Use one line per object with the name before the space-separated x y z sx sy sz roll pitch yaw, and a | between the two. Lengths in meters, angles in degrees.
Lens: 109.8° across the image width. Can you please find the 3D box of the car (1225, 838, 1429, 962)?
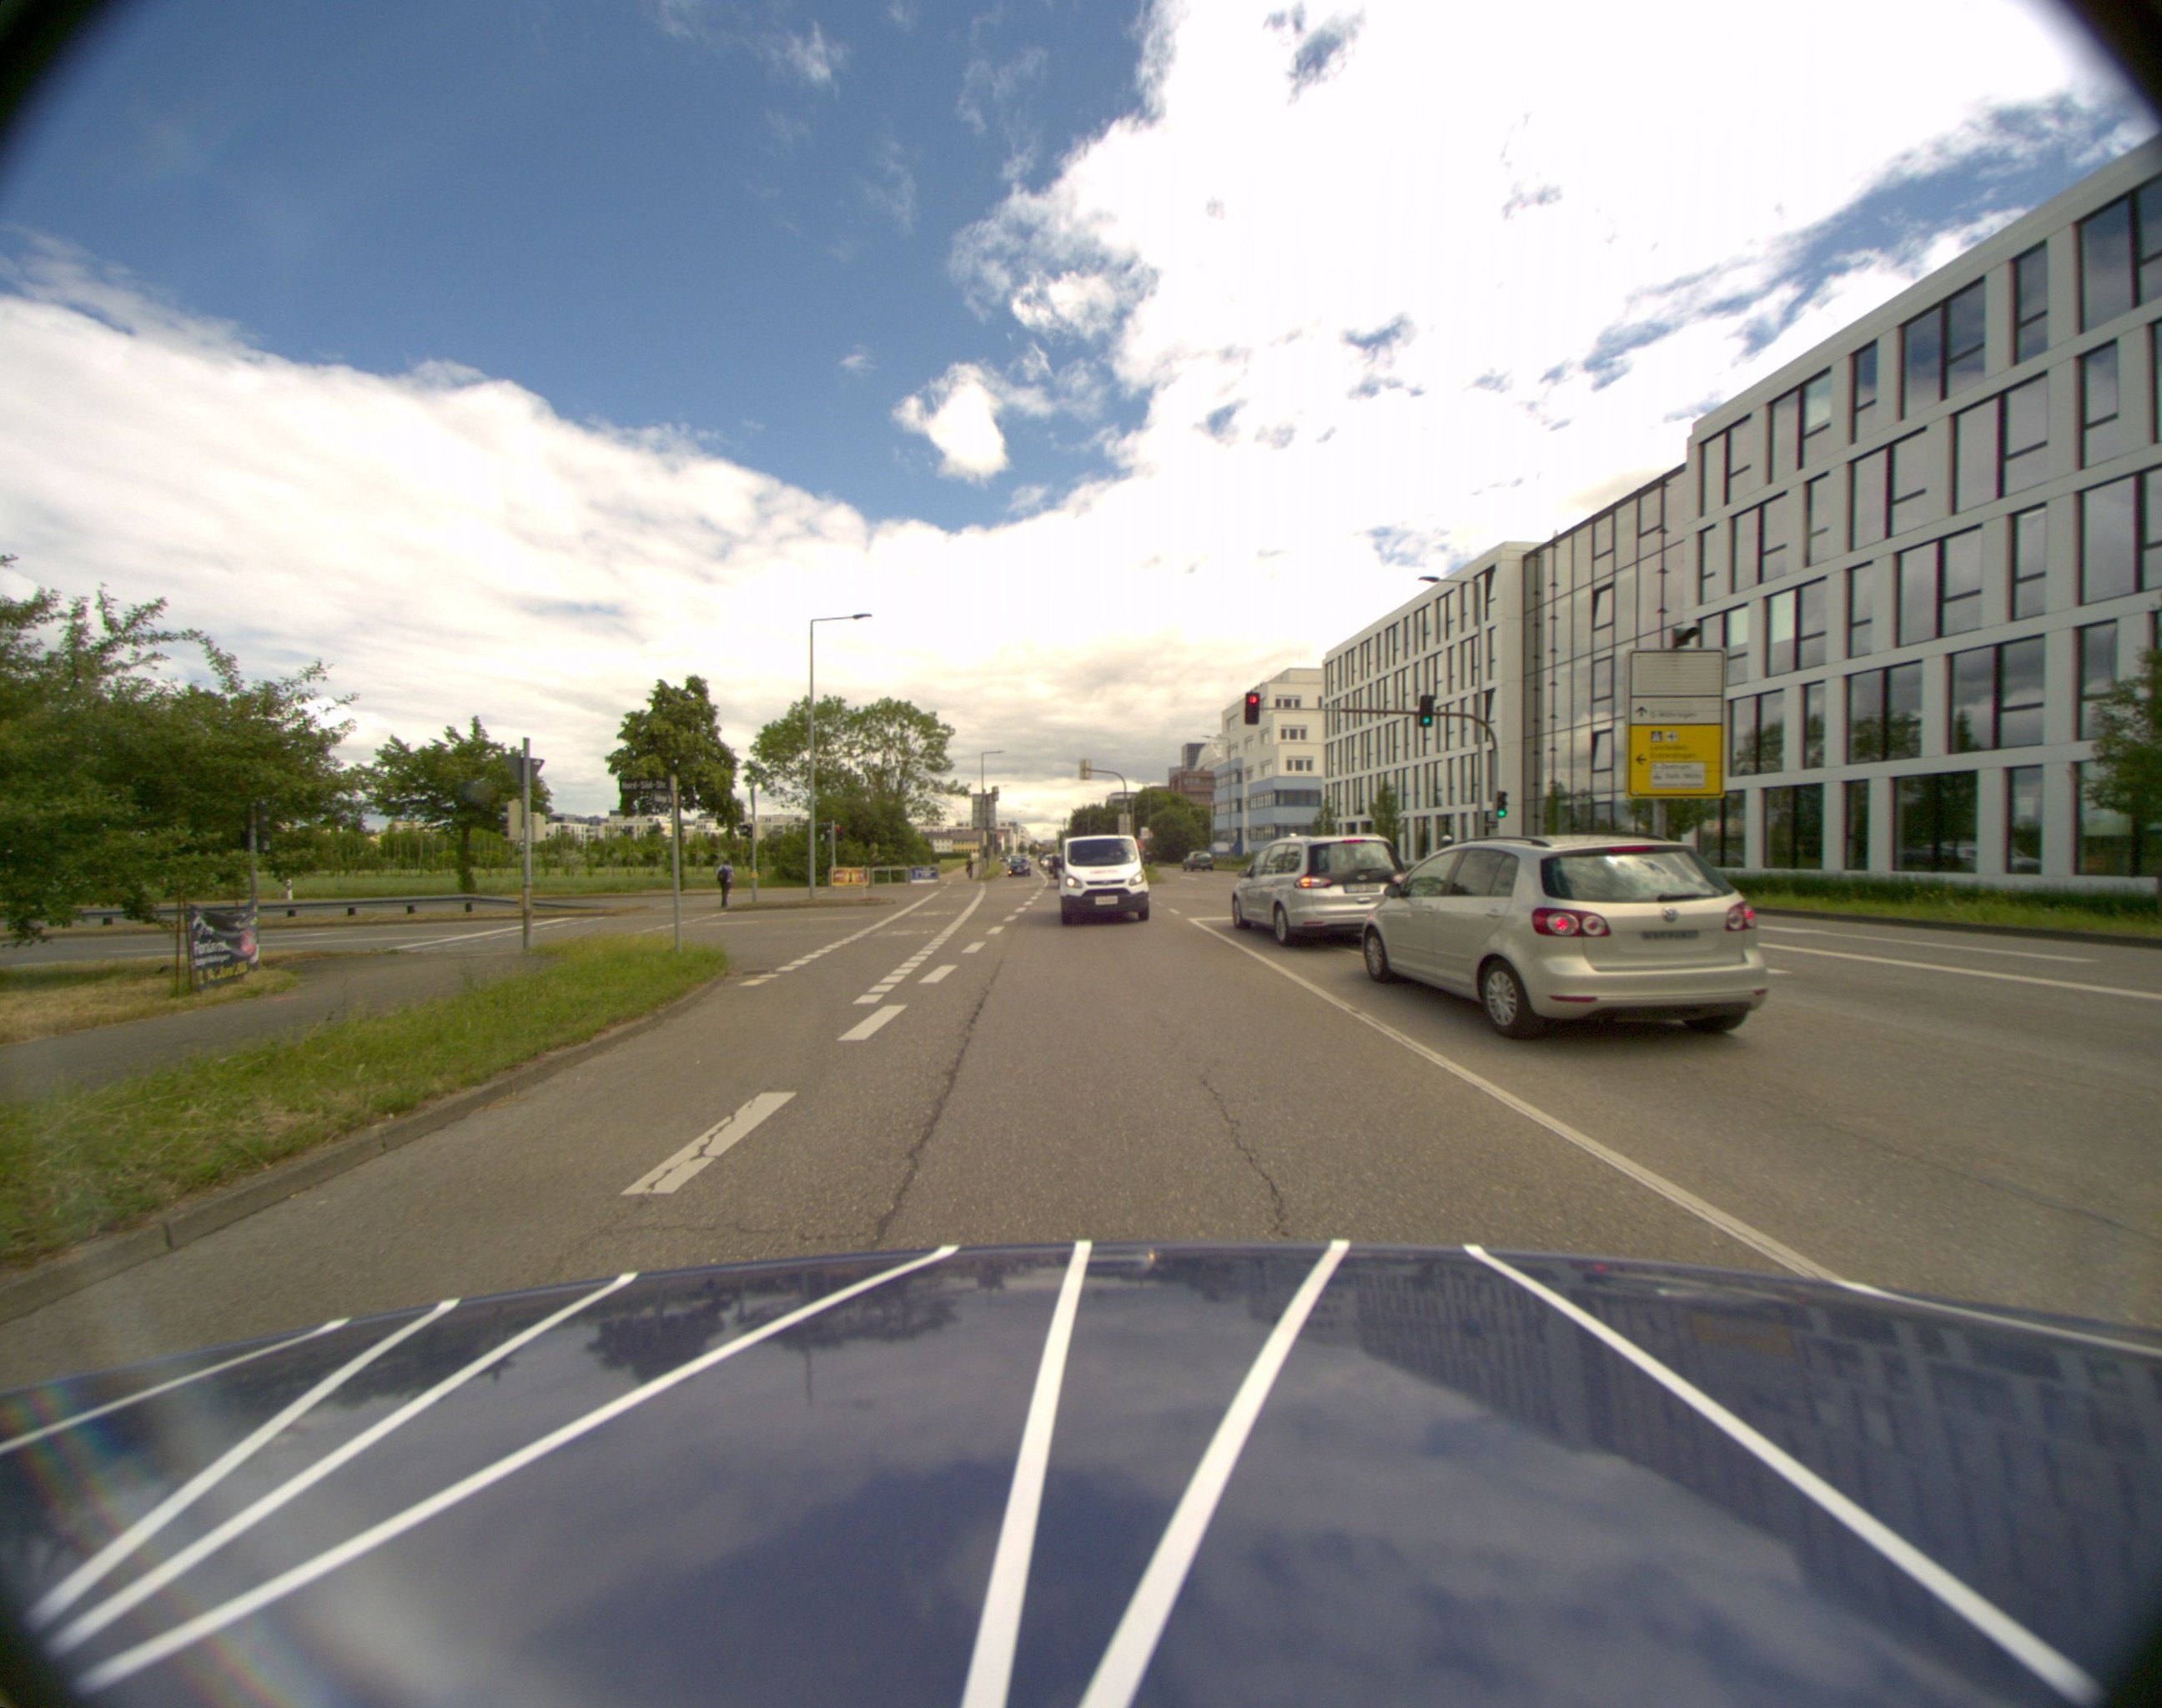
car | 3.877 0.636 12.860 1.872 1.685 4.370 -2 0 -2

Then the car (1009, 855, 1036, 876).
car | -4.370 0.811 57.045 1.736 1.432 4.367 -2 0 -2

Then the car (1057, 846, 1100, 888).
car | -0.178 0.579 36.299 1.872 1.836 4.370 -2 0 -2

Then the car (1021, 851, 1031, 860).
car | -11.084 0.324 152.686 1.873 1.685 4.369 -2 0 -5

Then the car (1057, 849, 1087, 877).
car | -0.637 0.583 50.076 1.872 1.685 4.370 -2 0 -2

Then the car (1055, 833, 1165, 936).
car | 0.481 0.595 18.112 2.122 1.963 6.205 -2 0 -2

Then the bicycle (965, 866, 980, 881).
bicycle | -8.573 1.540 60.116 1.017 1.127 2.674 0 0 -6

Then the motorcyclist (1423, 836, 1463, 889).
motorcyclist | 10.574 0.242 22.220 0.655 1.501 0.917 -2 1 -5

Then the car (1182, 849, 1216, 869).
car | 8.763 0.380 56.707 1.609 1.384 3.638 -2 0 -5

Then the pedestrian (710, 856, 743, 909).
pedestrian | -12.848 1.023 27.554 0.765 1.872 0.800 -2 1 -2

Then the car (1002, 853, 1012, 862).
car | -15.049 0.758 154.732 1.873 1.685 4.368 -2 0 -7

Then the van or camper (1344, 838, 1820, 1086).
van or camper | 4.026 0.712 7.065 1.748 1.600 4.045 -2 0 0

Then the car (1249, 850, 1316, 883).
car | 8.991 0.538 34.216 1.749 1.347 3.638 -2 0 -6

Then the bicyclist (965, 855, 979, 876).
bicyclist | -8.641 0.912 60.411 1.017 1.698 1.200 0 1 -7

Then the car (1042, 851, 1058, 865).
car | -3.768 0.463 91.394 1.873 1.685 4.370 -2 0 -3

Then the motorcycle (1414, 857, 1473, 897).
motorcycle | 10.580 0.645 22.271 0.655 1.106 1.933 -2 0 -4

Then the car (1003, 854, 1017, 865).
car | -9.736 0.793 104.927 1.736 1.432 4.366 -2 0 -4

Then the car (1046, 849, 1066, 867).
car | -2.548 0.393 76.815 1.872 1.685 4.370 -2 0 -2
